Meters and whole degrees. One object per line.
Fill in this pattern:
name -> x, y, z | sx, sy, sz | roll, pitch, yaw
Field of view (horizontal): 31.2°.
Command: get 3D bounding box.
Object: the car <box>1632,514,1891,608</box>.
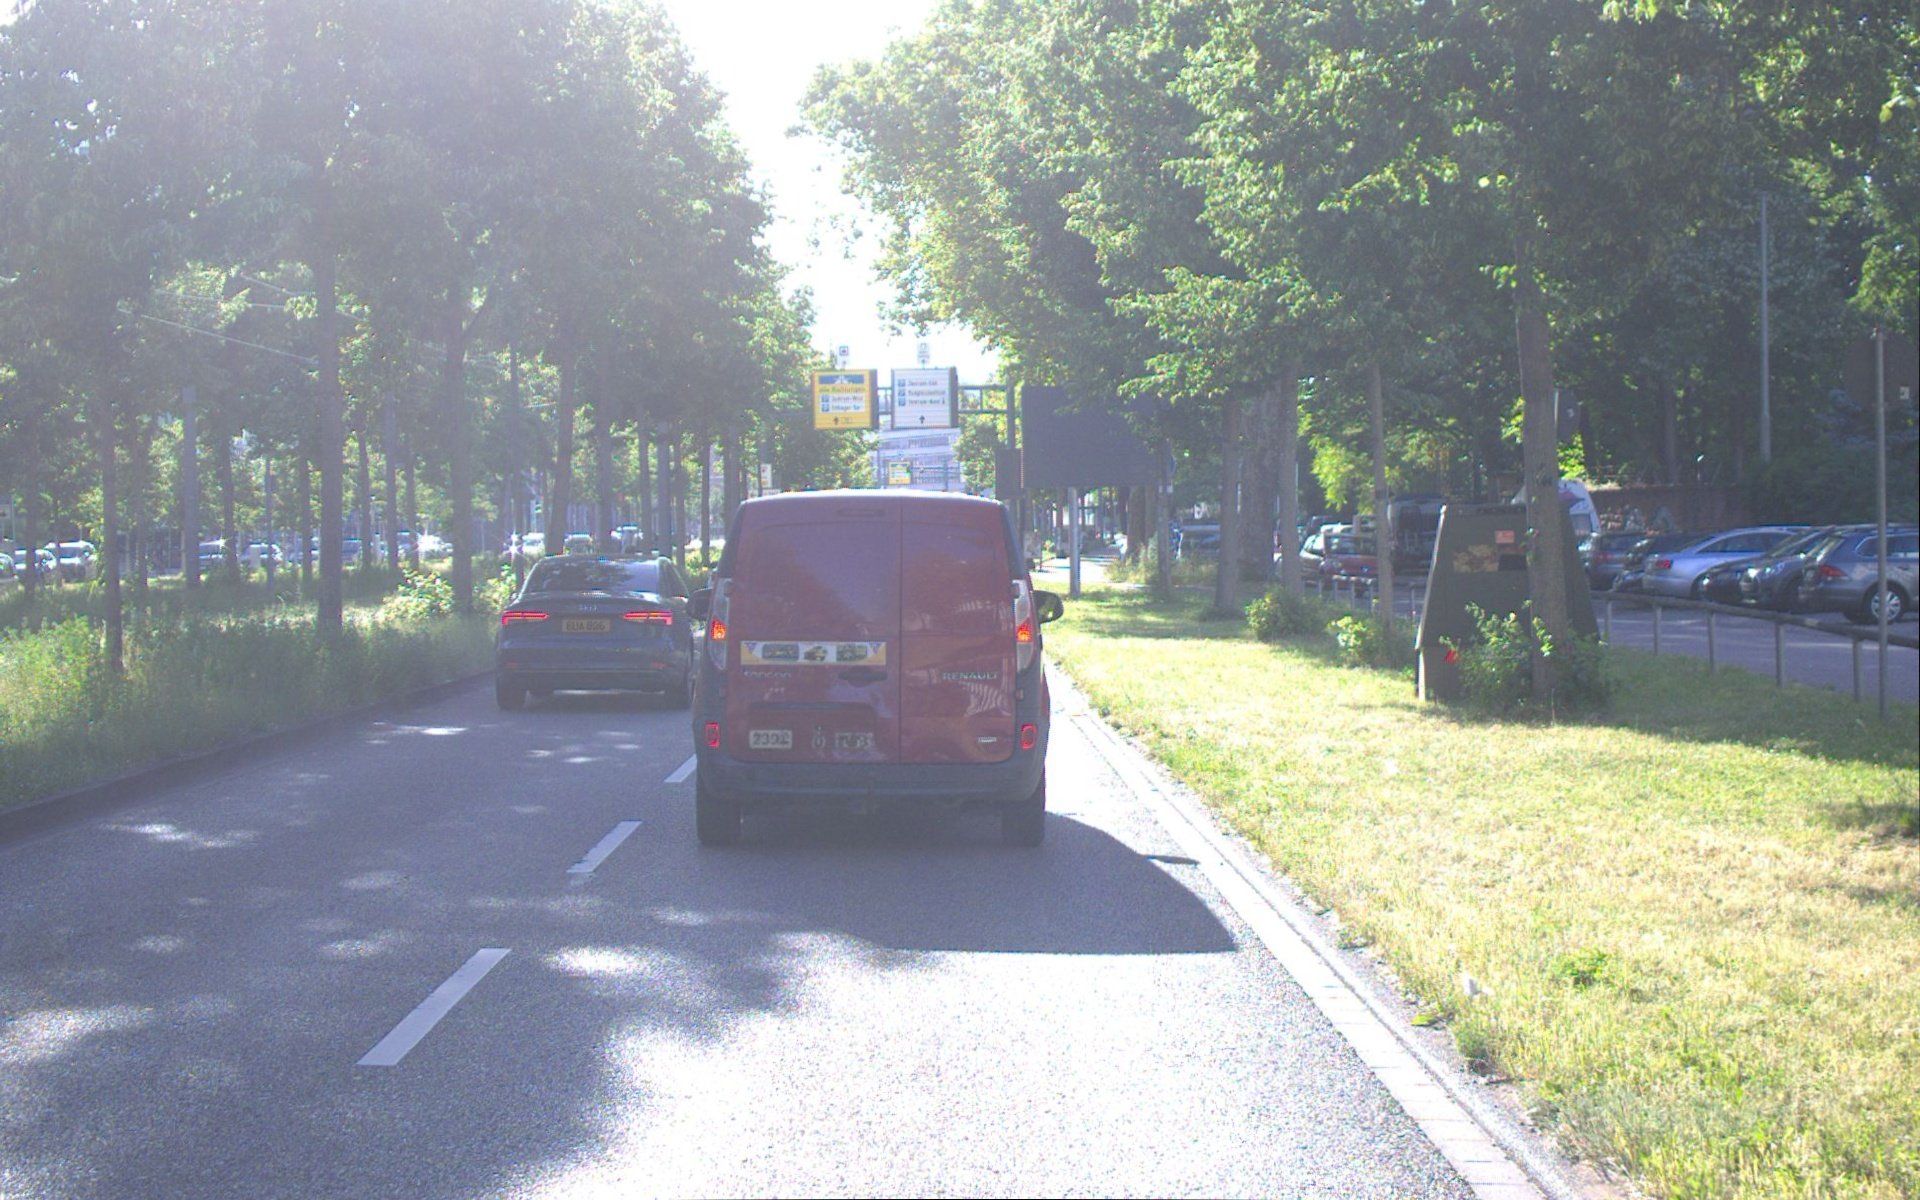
car -> 15.116, -0.752, 65.015 | 4.381, 1.406, 2.000 | -5, 1, 3

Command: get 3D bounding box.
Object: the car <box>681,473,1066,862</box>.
car -> -0.520, 0.294, 18.392 | 1.808, 1.831, 4.001 | 1, 1, -3

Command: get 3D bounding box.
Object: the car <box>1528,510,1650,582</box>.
car -> 14.373, -1.240, 78.717 | 1.993, 1.568, 4.000 | 1, 1, -1

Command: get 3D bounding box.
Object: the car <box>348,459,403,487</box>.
car -> -29.821, -6.475, 175.509 | 1.912, 1.321, 4.611 | 1, 1, 1

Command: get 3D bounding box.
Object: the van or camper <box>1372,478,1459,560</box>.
van or camper -> 15.841, -2.842, 119.861 | 2.557, 2.675, 6.564 | -3, 1, 4

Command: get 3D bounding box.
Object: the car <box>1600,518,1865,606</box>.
car -> 15.223, -0.754, 67.907 | 4.719, 1.401, 2.000 | -4, 1, 0

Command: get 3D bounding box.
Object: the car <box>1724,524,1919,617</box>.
car -> 15.426, -0.529, 58.908 | 4.190, 1.493, 1.782 | -2, 1, -3

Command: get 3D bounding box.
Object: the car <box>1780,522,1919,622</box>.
car -> 15.047, -0.490, 53.563 | 4.080, 1.463, 1.715 | -2, 1, 1

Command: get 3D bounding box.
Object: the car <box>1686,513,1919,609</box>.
car -> 15.565, -0.714, 62.241 | 4.327, 1.473, 1.907 | -3, 2, -4

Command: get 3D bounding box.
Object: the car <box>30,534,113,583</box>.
car -> -32.714, -1.532, 126.658 | 1.993, 1.766, 4.777 | 1, 1, -3

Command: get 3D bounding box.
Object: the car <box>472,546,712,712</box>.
car -> -3.354, 0.227, 31.999 | 1.792, 1.423, 4.000 | 1, 1, 0

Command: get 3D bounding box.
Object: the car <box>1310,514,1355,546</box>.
car -> 19.809, -3.701, 182.824 | 1.993, 1.634, 4.000 | 1, 1, 1

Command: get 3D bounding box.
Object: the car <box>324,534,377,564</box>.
car -> -33.250, -2.777, 187.564 | 1.993, 1.603, 4.611 | 1, 1, 1

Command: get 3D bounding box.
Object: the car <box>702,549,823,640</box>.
car -> -3.644, -0.134, 64.021 | 1.993, 1.612, 4.000 | 1, 1, 0

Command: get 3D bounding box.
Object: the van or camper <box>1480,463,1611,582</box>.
van or camper -> 14.357, -1.892, 84.564 | 1.993, 2.722, 4.965 | -3, 1, -3

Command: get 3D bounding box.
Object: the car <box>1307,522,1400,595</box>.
car -> 9.097, -0.966, 79.753 | 1.994, 1.634, 3.999 | 1, 1, 5

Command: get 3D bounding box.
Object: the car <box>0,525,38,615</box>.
car -> -22.214, -0.686, 76.830 | 1.994, 2.007, 4.000 | 1, 1, 3

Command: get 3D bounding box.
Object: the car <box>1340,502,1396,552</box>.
car -> 16.833, -3.014, 142.077 | 2.087, 2.007, 4.942 | 0, 1, 5

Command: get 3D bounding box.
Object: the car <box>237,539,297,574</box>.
car -> -33.359, -2.091, 165.619 | 1.879, 1.615, 4.611 | 1, 1, 1
